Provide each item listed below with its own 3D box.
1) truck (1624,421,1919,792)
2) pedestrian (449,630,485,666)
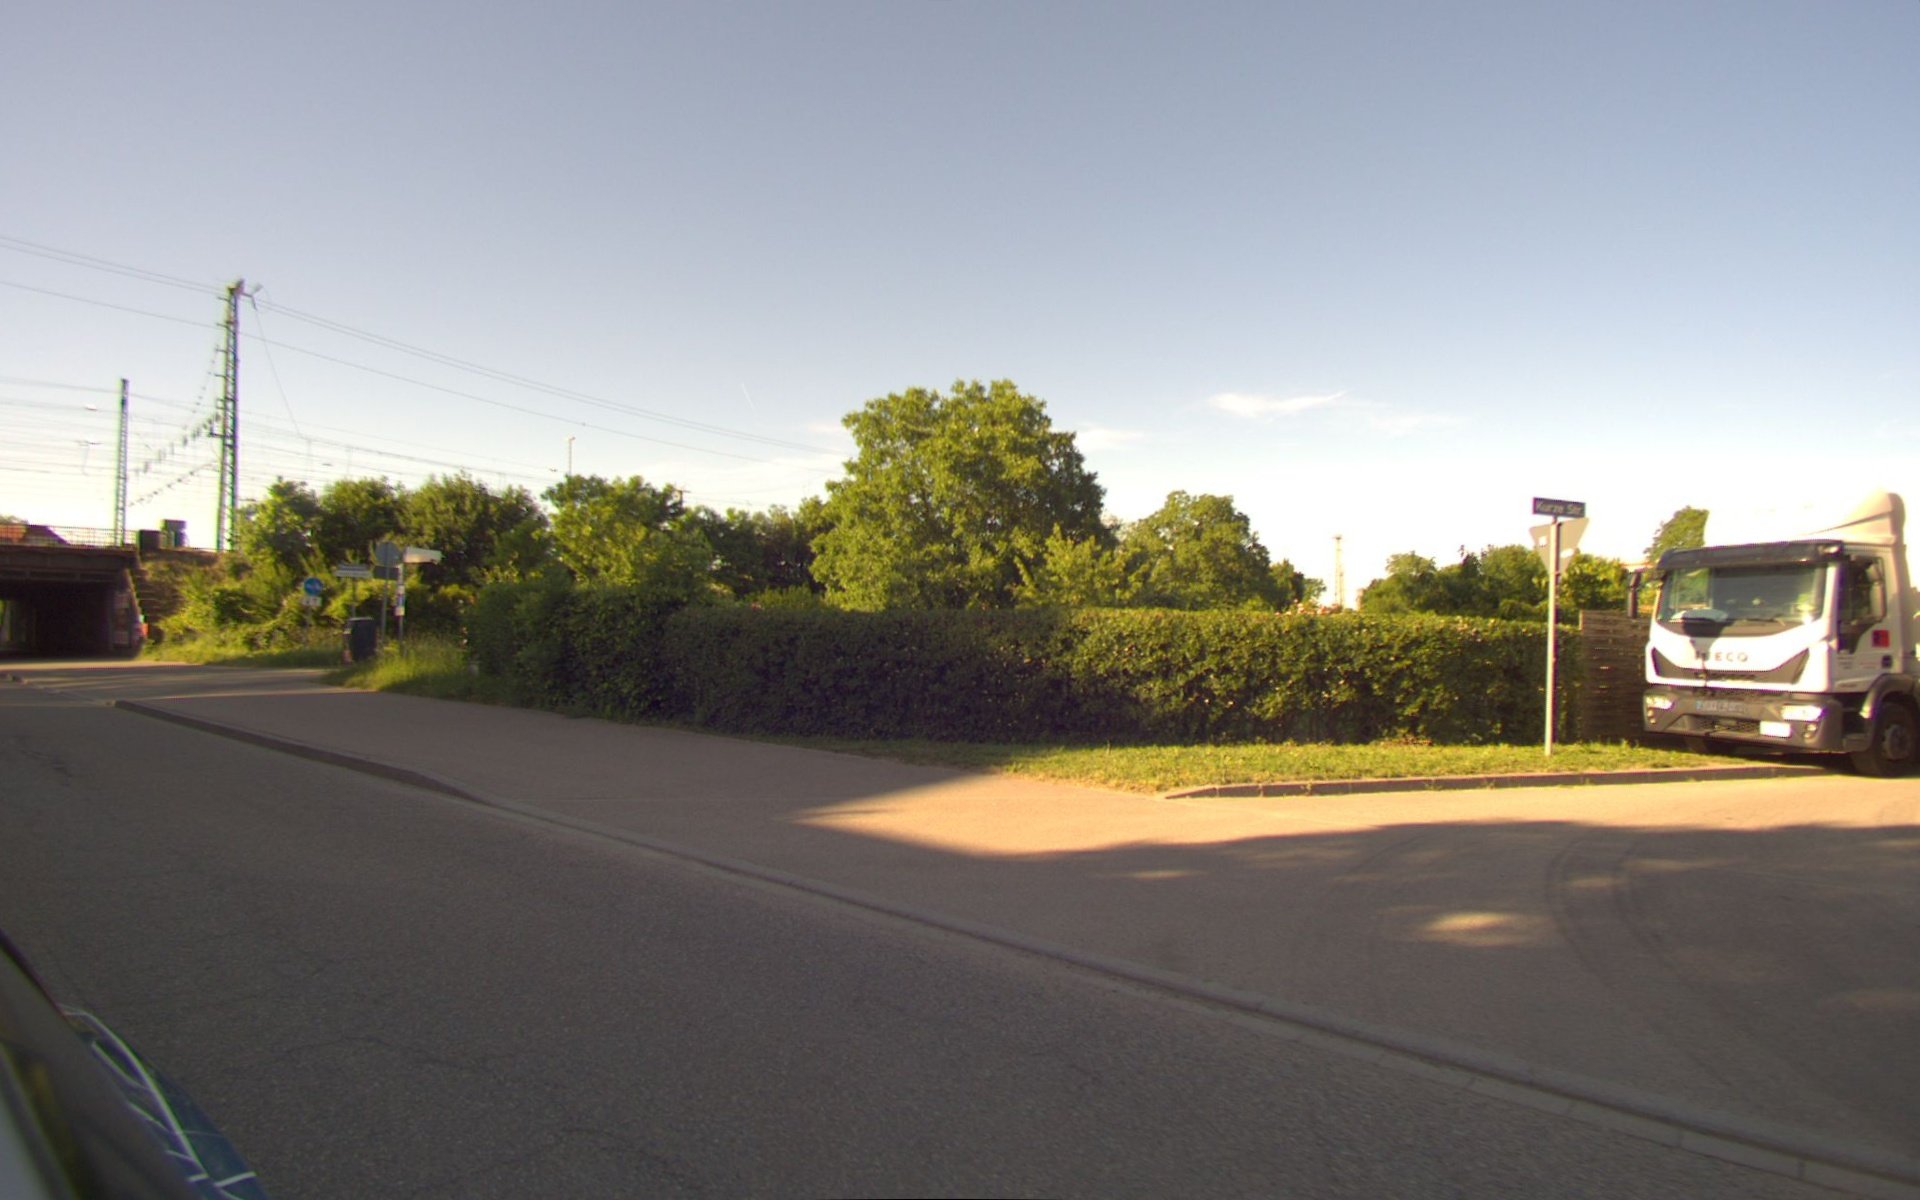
[{"bbox_3d":[13.464,0.138,13.479,9.173,3.912,2.720,1,-1,-20],"label":"truck"},{"bbox_3d":[-20.063,1.950,41.193,0.811,1.415,1.009,1,-2,32],"label":"pedestrian"}]
